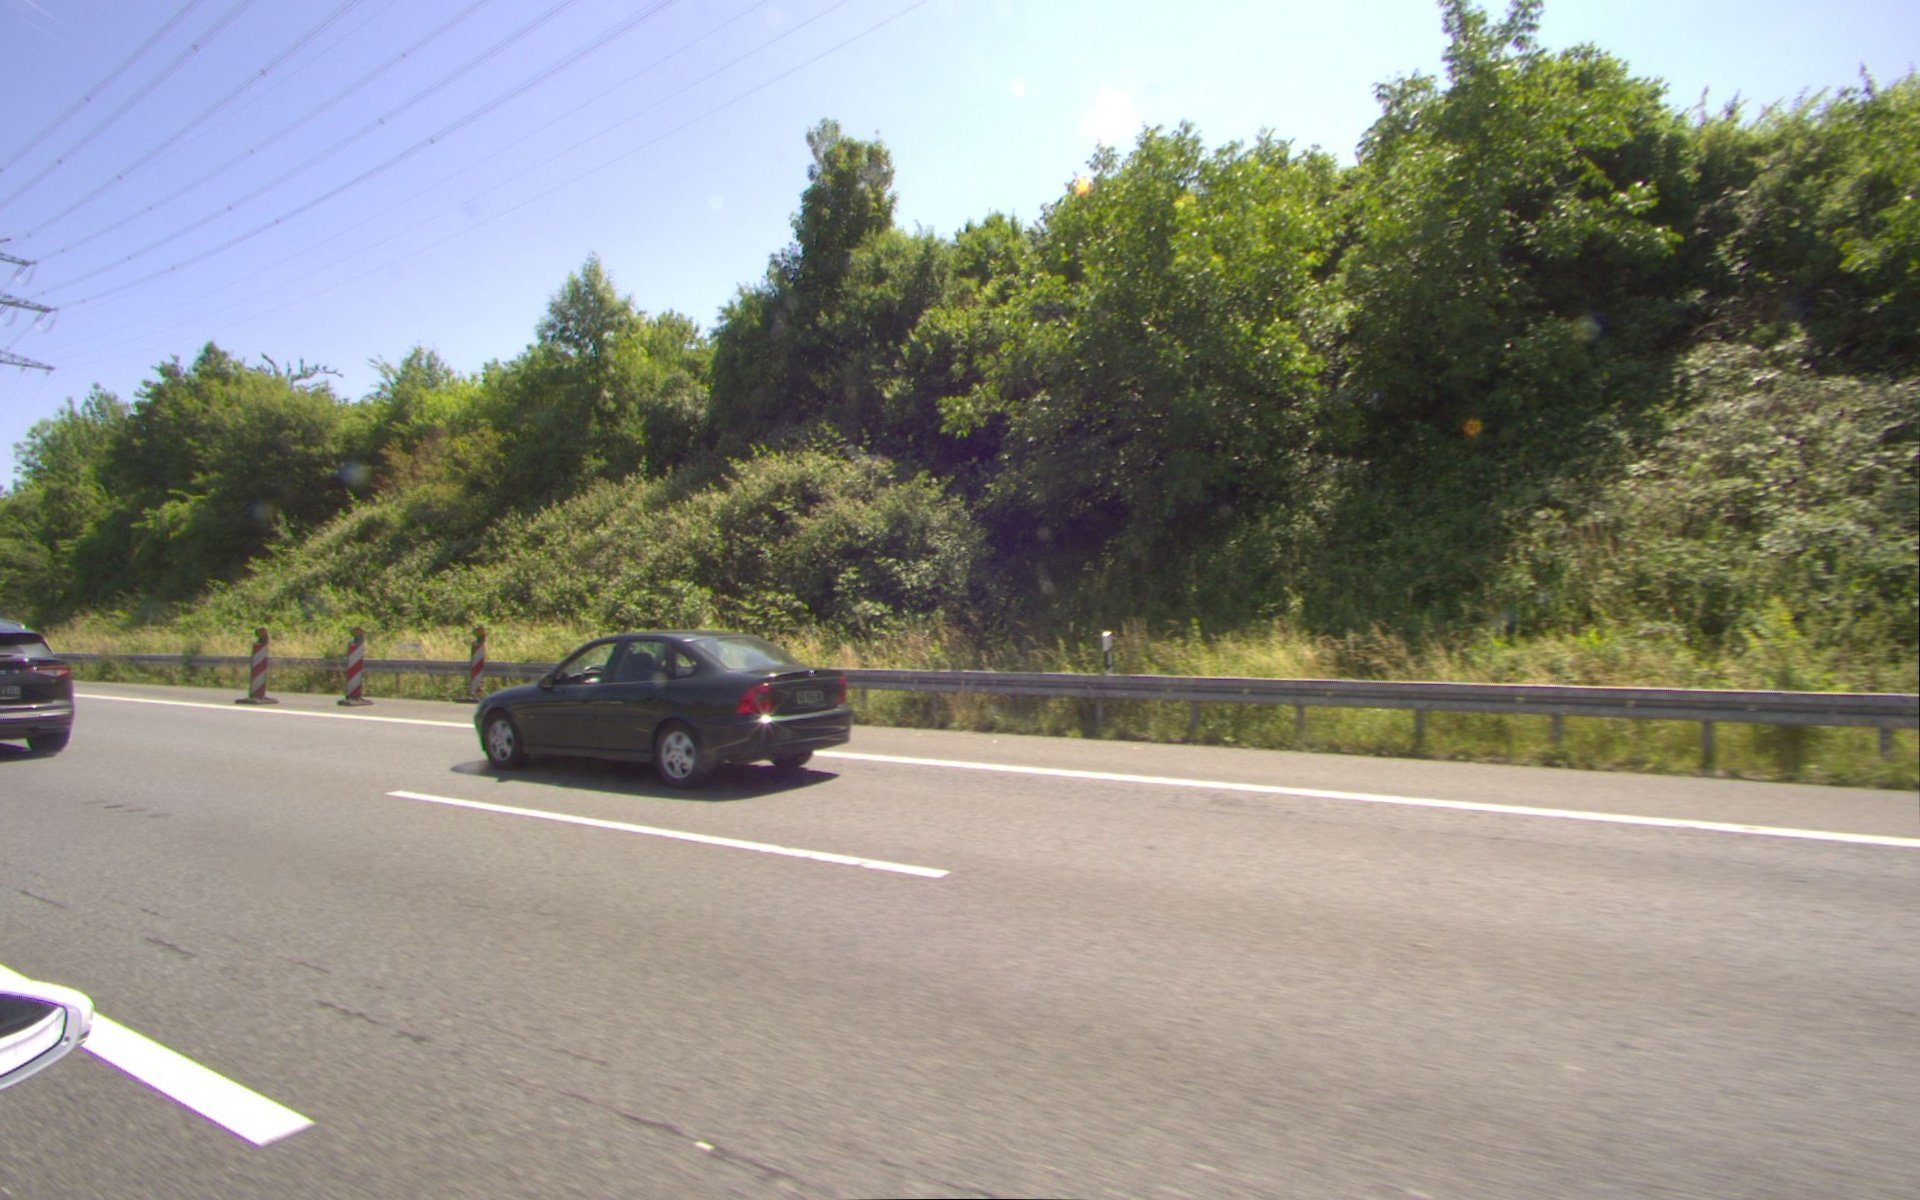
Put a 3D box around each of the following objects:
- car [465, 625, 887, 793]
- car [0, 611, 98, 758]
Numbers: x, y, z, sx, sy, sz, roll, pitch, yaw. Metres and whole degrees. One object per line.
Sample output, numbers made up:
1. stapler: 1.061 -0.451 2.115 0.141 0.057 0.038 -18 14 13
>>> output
1. car: -2.964 0.973 10.176 4.240 1.395 1.732 -1 -2 32
2. car: -12.558 0.970 12.235 4.366 1.635 1.825 -1 -1 31
